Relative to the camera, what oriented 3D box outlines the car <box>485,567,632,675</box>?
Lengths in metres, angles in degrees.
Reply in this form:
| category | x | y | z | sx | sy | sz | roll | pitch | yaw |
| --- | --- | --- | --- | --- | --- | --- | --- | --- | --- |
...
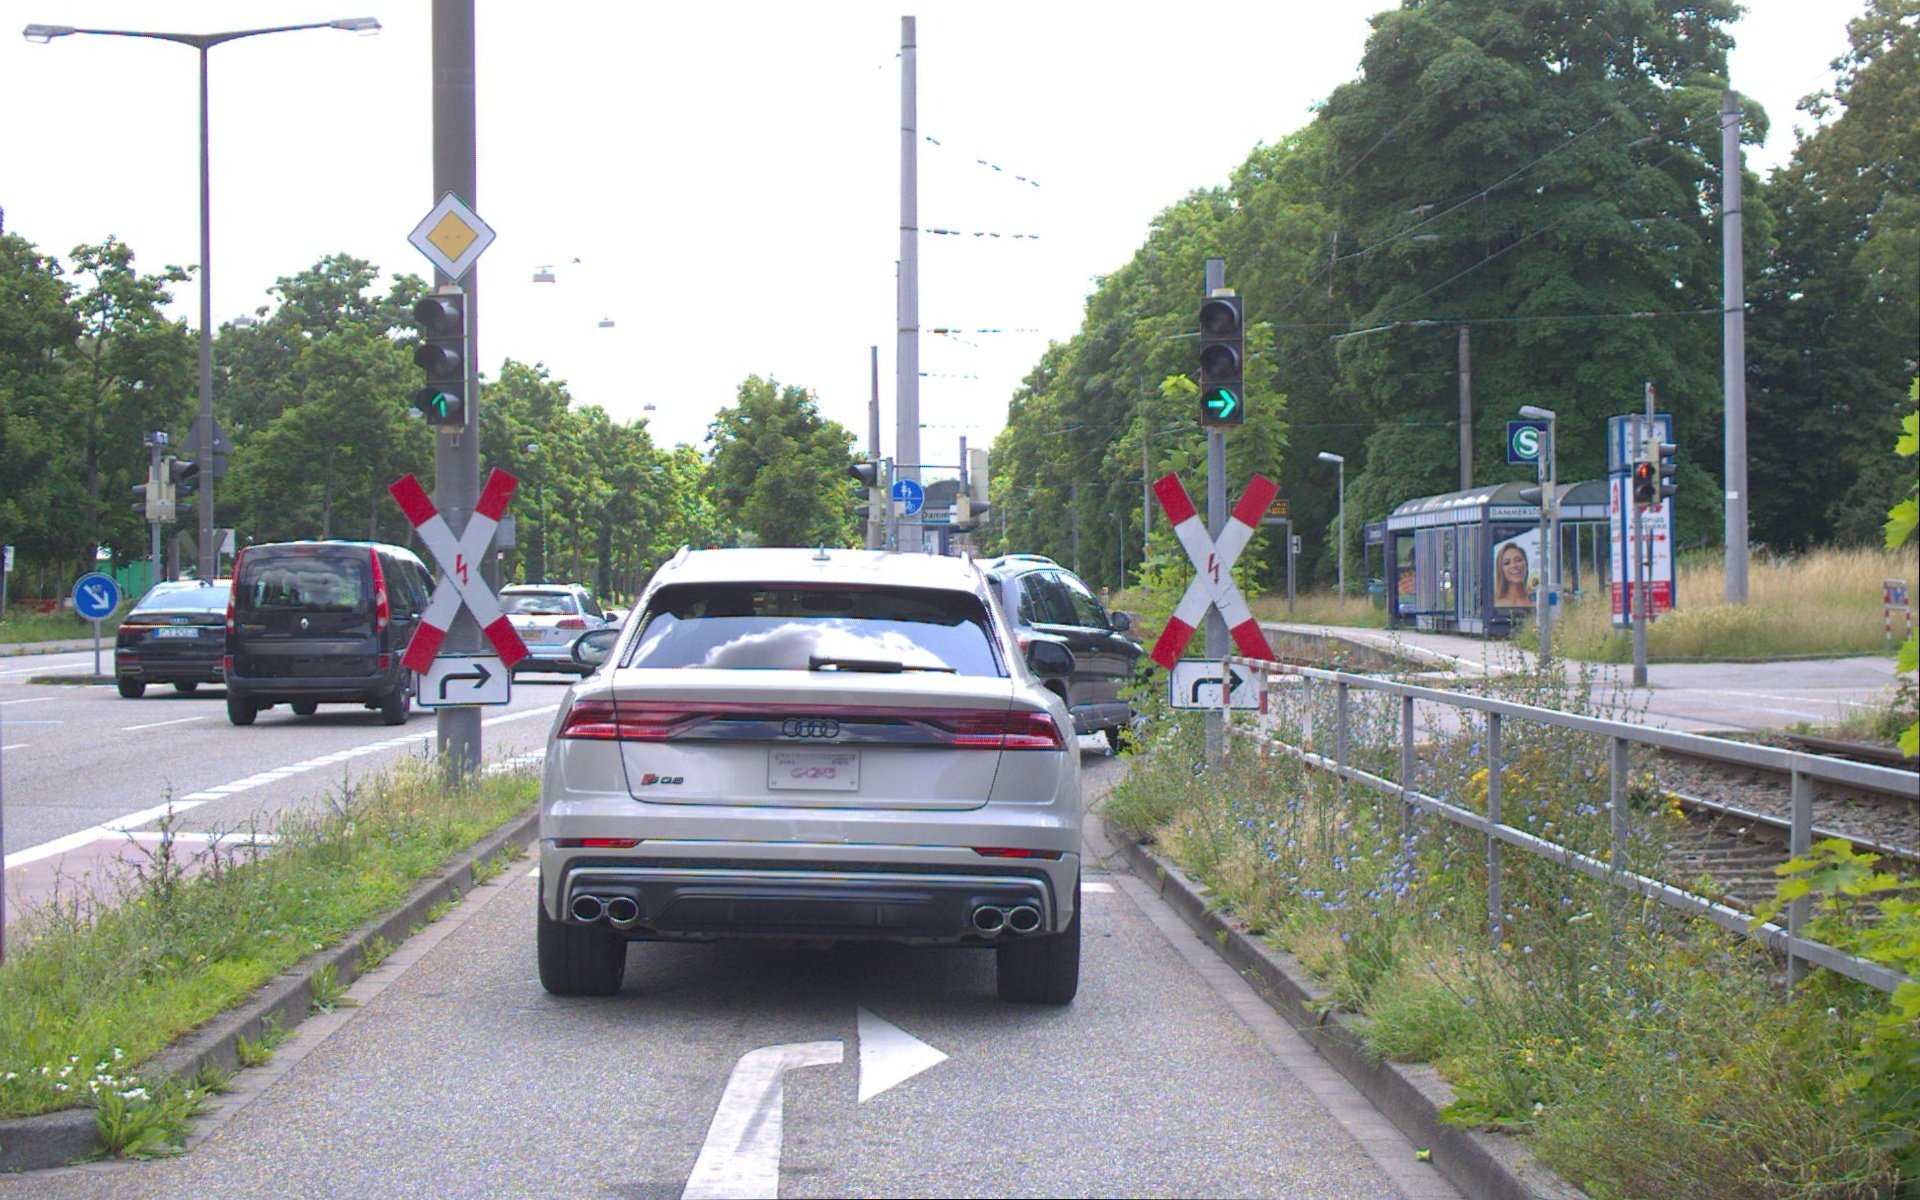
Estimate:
| category | x | y | z | sx | sy | sz | roll | pitch | yaw |
| --- | --- | --- | --- | --- | --- | --- | --- | --- | --- |
| car | -5.922 | 0.297 | 51.151 | 1.785 | 1.520 | 4.301 | 1 | 0 | -2 |

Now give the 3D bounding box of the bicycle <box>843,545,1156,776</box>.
| category | x | y | z | sx | sy | sz | roll | pitch | yaw |
| --- | --- | --- | --- | --- | --- | --- | --- | --- | --- |
| bicycle | 0.398 | 0.424 | 27.049 | 1.994 | 1.669 | 4.207 | 0 | 0 | 7 |

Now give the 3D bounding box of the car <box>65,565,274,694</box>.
| category | x | y | z | sx | sy | sz | roll | pitch | yaw |
| --- | --- | --- | --- | --- | --- | --- | --- | --- | --- |
| car | -9.780 | 0.347 | 42.780 | 1.864 | 1.499 | 4.000 | 1 | 0 | -3 |

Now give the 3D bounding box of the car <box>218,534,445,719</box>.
| category | x | y | z | sx | sy | sz | roll | pitch | yaw |
| --- | --- | --- | --- | --- | --- | --- | --- | --- | --- |
| car | -6.395 | 0.252 | 35.349 | 1.759 | 1.771 | 3.909 | 1 | 0 | -2 |

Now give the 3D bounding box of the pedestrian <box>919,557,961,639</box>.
| category | x | y | z | sx | sy | sz | roll | pitch | yaw |
| --- | --- | --- | --- | --- | --- | --- | --- | --- | --- |
| pedestrian | -0.380 | -0.041 | 63.591 | 0.653 | 1.508 | 0.718 | -1 | 0 | -10 |

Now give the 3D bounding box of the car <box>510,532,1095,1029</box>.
| category | x | y | z | sx | sy | sz | roll | pitch | yaw |
| --- | --- | --- | --- | --- | --- | --- | --- | --- | --- |
| car | -0.560 | 0.616 | 14.071 | 1.981 | 1.678 | 4.574 | 1 | 0 | 0 |
